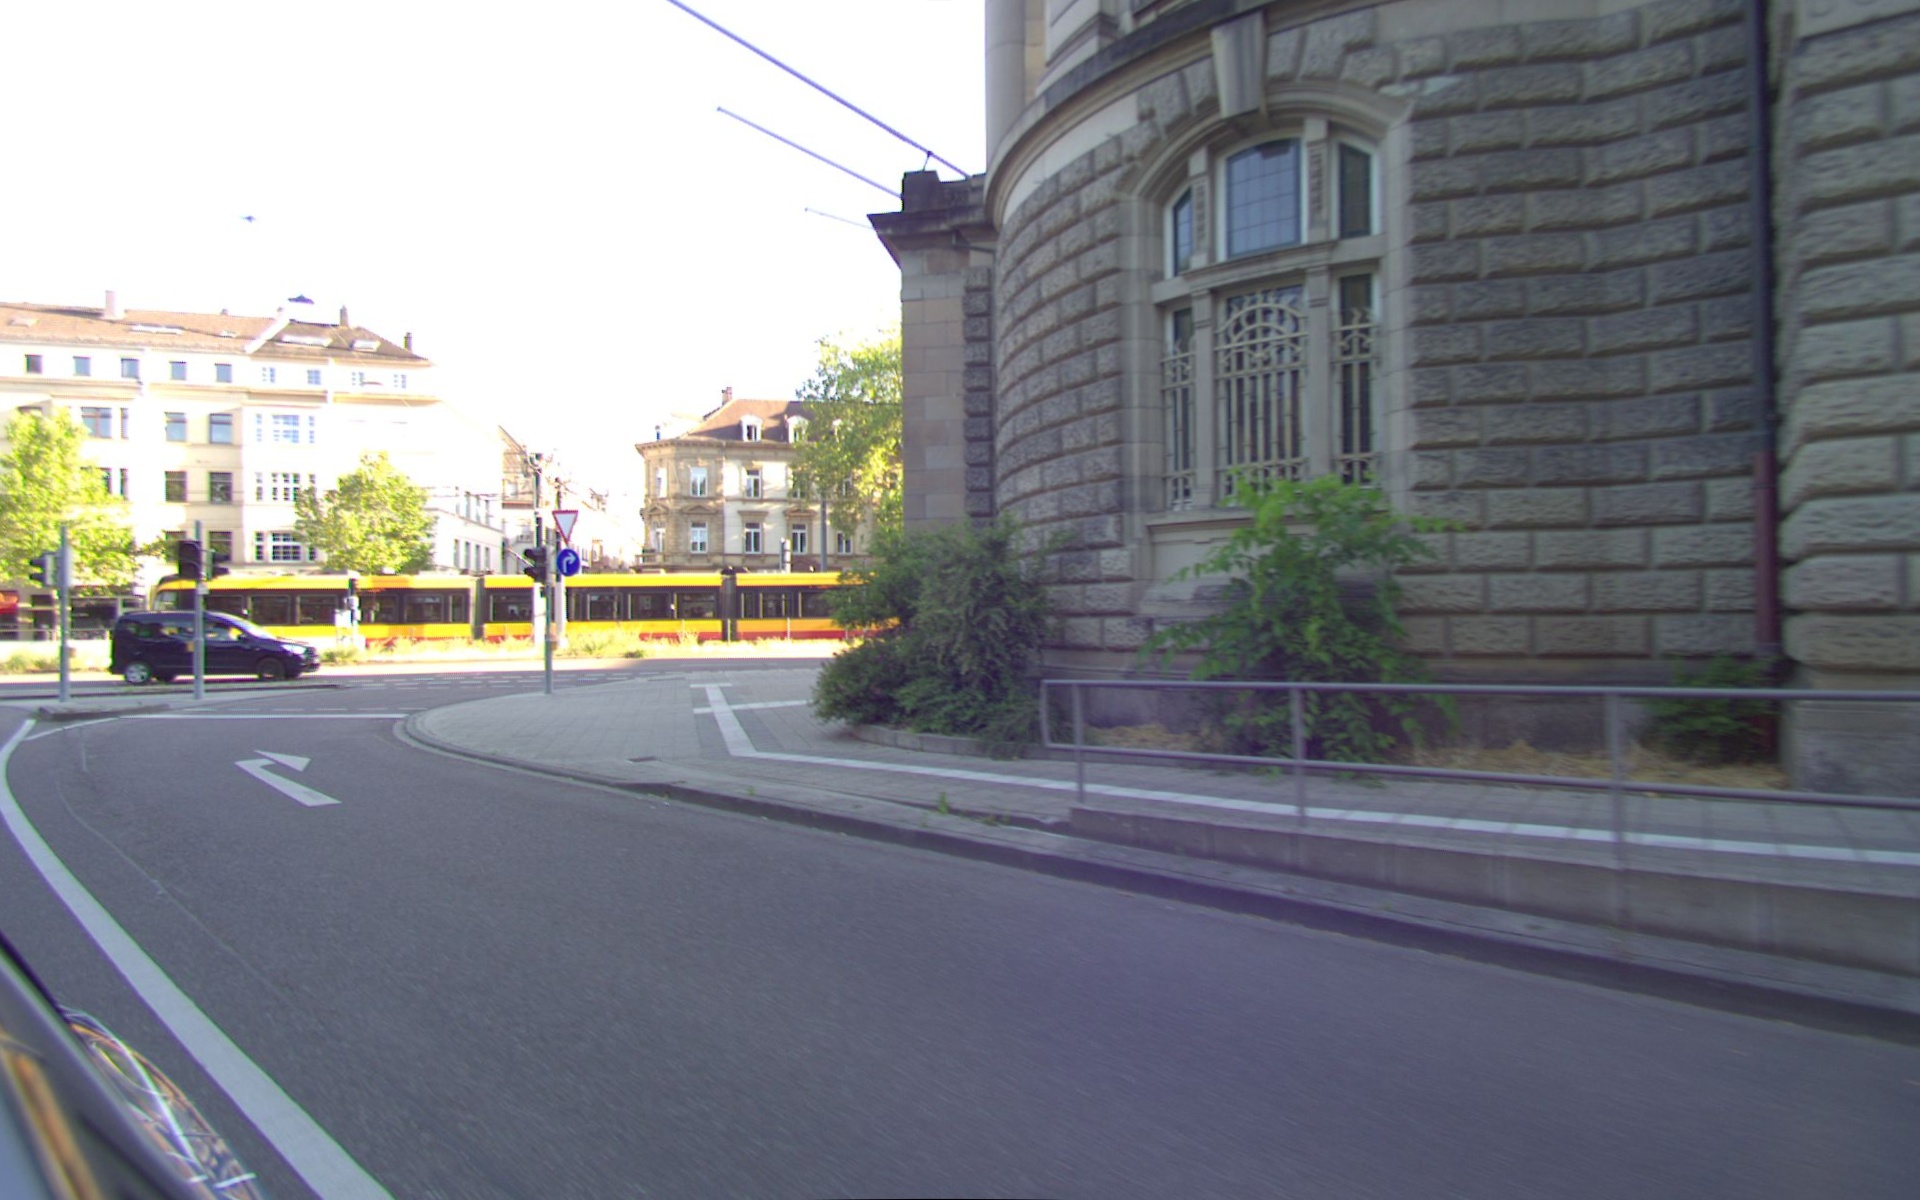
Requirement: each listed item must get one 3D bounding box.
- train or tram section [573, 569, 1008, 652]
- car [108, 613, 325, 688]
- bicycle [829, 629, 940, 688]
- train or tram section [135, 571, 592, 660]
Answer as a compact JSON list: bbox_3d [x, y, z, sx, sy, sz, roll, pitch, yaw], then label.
[{"bbox_3d":[-7.725,0.458,47.839,19.617,3.586,3.127,-1,-2,-8],"label":"train or tram section"},{"bbox_3d":[-18.703,1.236,25.658,4.077,1.745,1.776,0,-1,-17],"label":"car"},{"bbox_3d":[-1.583,1.235,21.463,2.212,1.205,0.868,-1,-2,7],"label":"bicycle"},{"bbox_3d":[-25.460,0.617,44.578,17.184,3.586,3.130,0,-2,-14],"label":"train or tram section"}]
